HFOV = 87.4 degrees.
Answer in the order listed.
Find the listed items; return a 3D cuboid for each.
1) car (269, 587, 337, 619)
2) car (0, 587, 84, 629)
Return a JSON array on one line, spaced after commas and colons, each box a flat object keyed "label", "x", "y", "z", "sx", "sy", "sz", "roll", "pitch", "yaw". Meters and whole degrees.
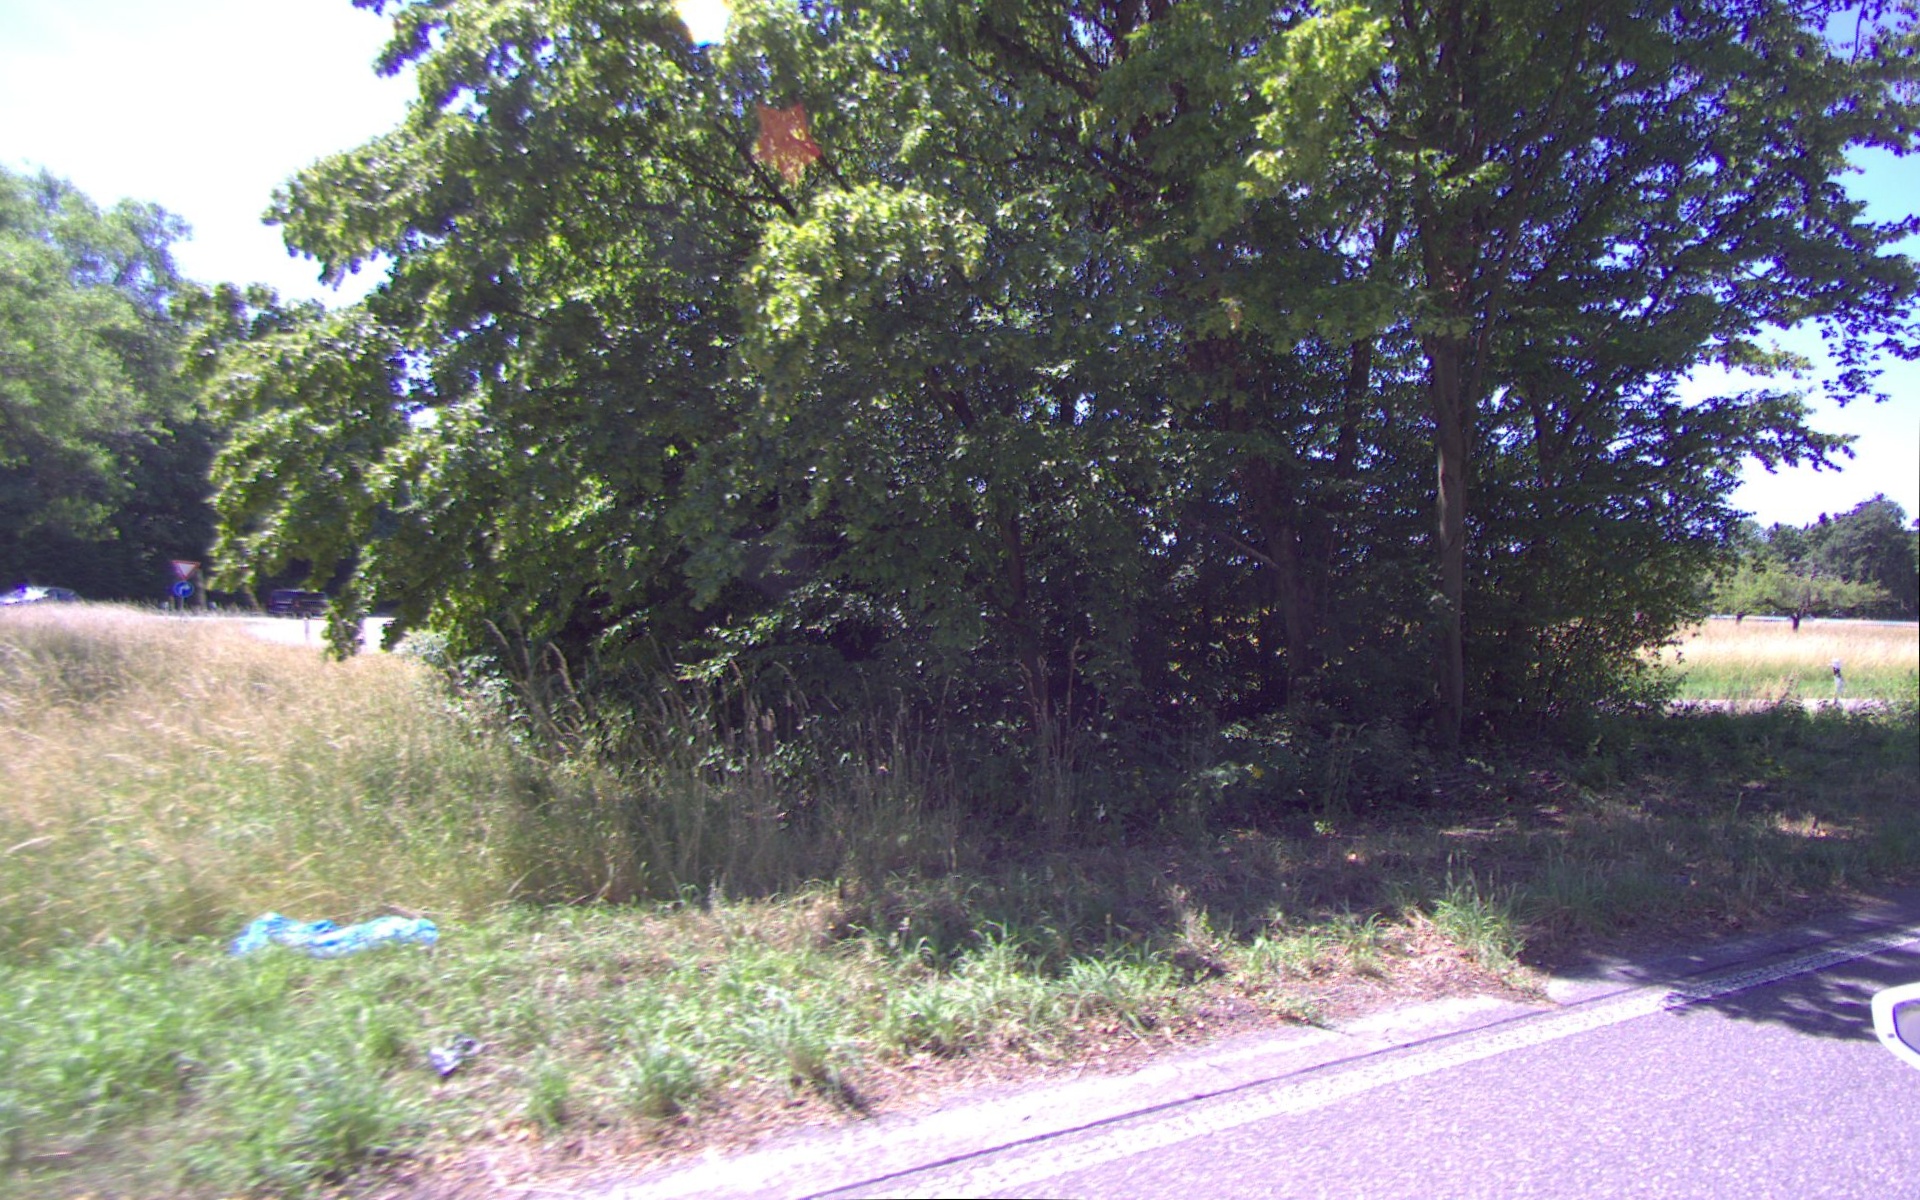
[{"label": "car", "x": -43.744, "y": 0.237, "z": 67.000, "sx": 1.962, "sy": 1.973, "sz": 4.087, "roll": 3, "pitch": -1, "yaw": -5}, {"label": "car", "x": -47.803, "y": 0.441, "z": 51.577, "sx": 1.960, "sy": 2.040, "sz": 4.002, "roll": 3, "pitch": -1, "yaw": 2}]
